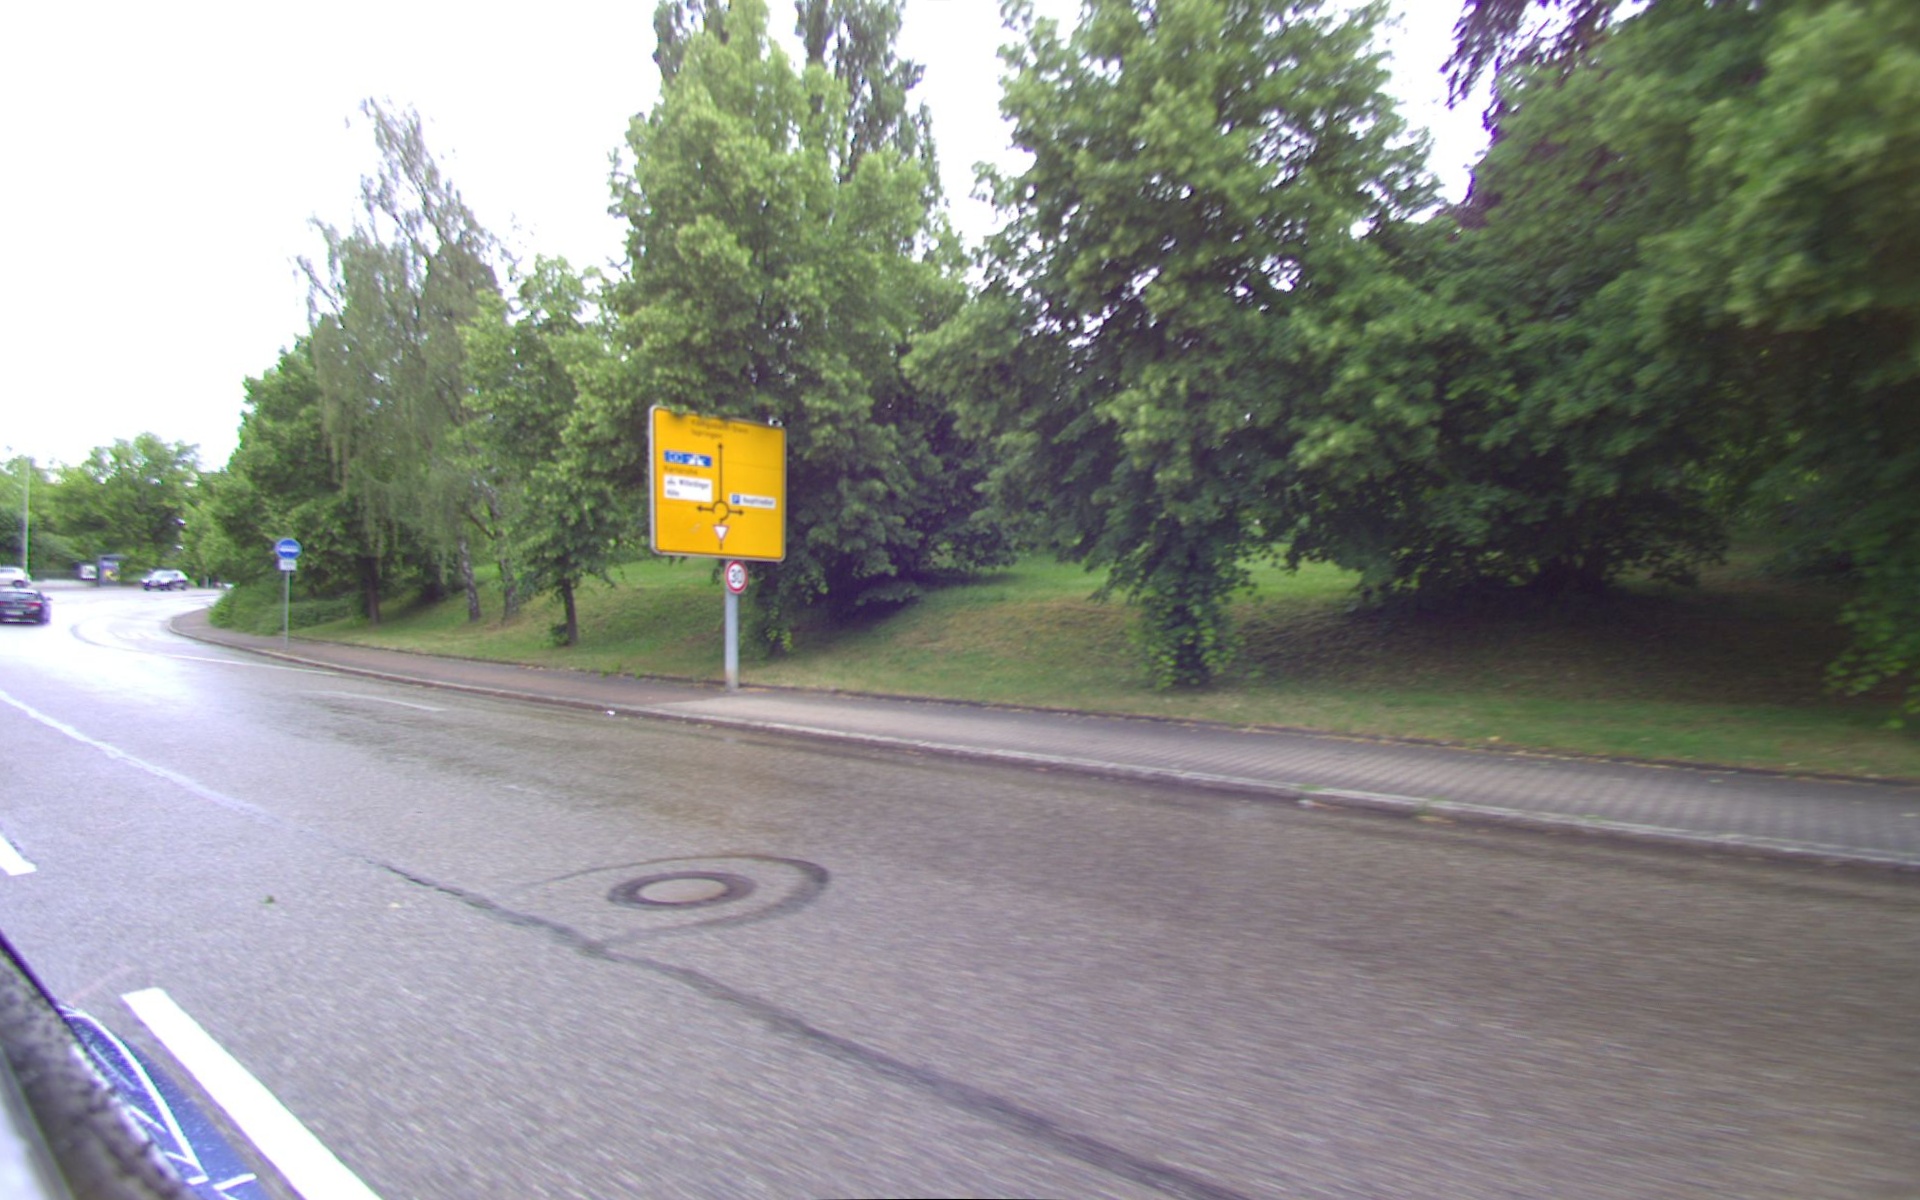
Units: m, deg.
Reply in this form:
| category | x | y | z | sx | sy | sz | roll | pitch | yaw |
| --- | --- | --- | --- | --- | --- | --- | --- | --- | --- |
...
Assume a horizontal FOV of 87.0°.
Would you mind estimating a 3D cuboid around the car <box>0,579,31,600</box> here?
| category | x | y | z | sx | sy | sz | roll | pitch | yaw |
| --- | --- | --- | --- | --- | --- | --- | --- | --- | --- |
| car | -75.349 | -0.893 | 79.066 | 3.807 | 1.578 | 1.731 | 4 | -2 | -37 |

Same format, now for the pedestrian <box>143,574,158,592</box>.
| category | x | y | z | sx | sy | sz | roll | pitch | yaw |
| --- | --- | --- | --- | --- | --- | --- | --- | --- | --- |
| pedestrian | -76.039 | -1.604 | 95.062 | 0.912 | 1.667 | 1.101 | 1 | -1 | -27 |

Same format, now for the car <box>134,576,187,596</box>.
| category | x | y | z | sx | sy | sz | roll | pitch | yaw |
| --- | --- | --- | --- | --- | --- | --- | --- | --- | --- |
| car | -65.878 | -1.141 | 83.458 | 1.832 | 1.425 | 4.398 | 0 | -2 | -15 |

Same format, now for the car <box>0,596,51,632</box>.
| category | x | y | z | sx | sy | sz | roll | pitch | yaw |
| --- | --- | --- | --- | --- | --- | --- | --- | --- | --- |
| car | -38.711 | 0.570 | 41.601 | 1.699 | 1.394 | 4.147 | 3 | -3 | -38 |
